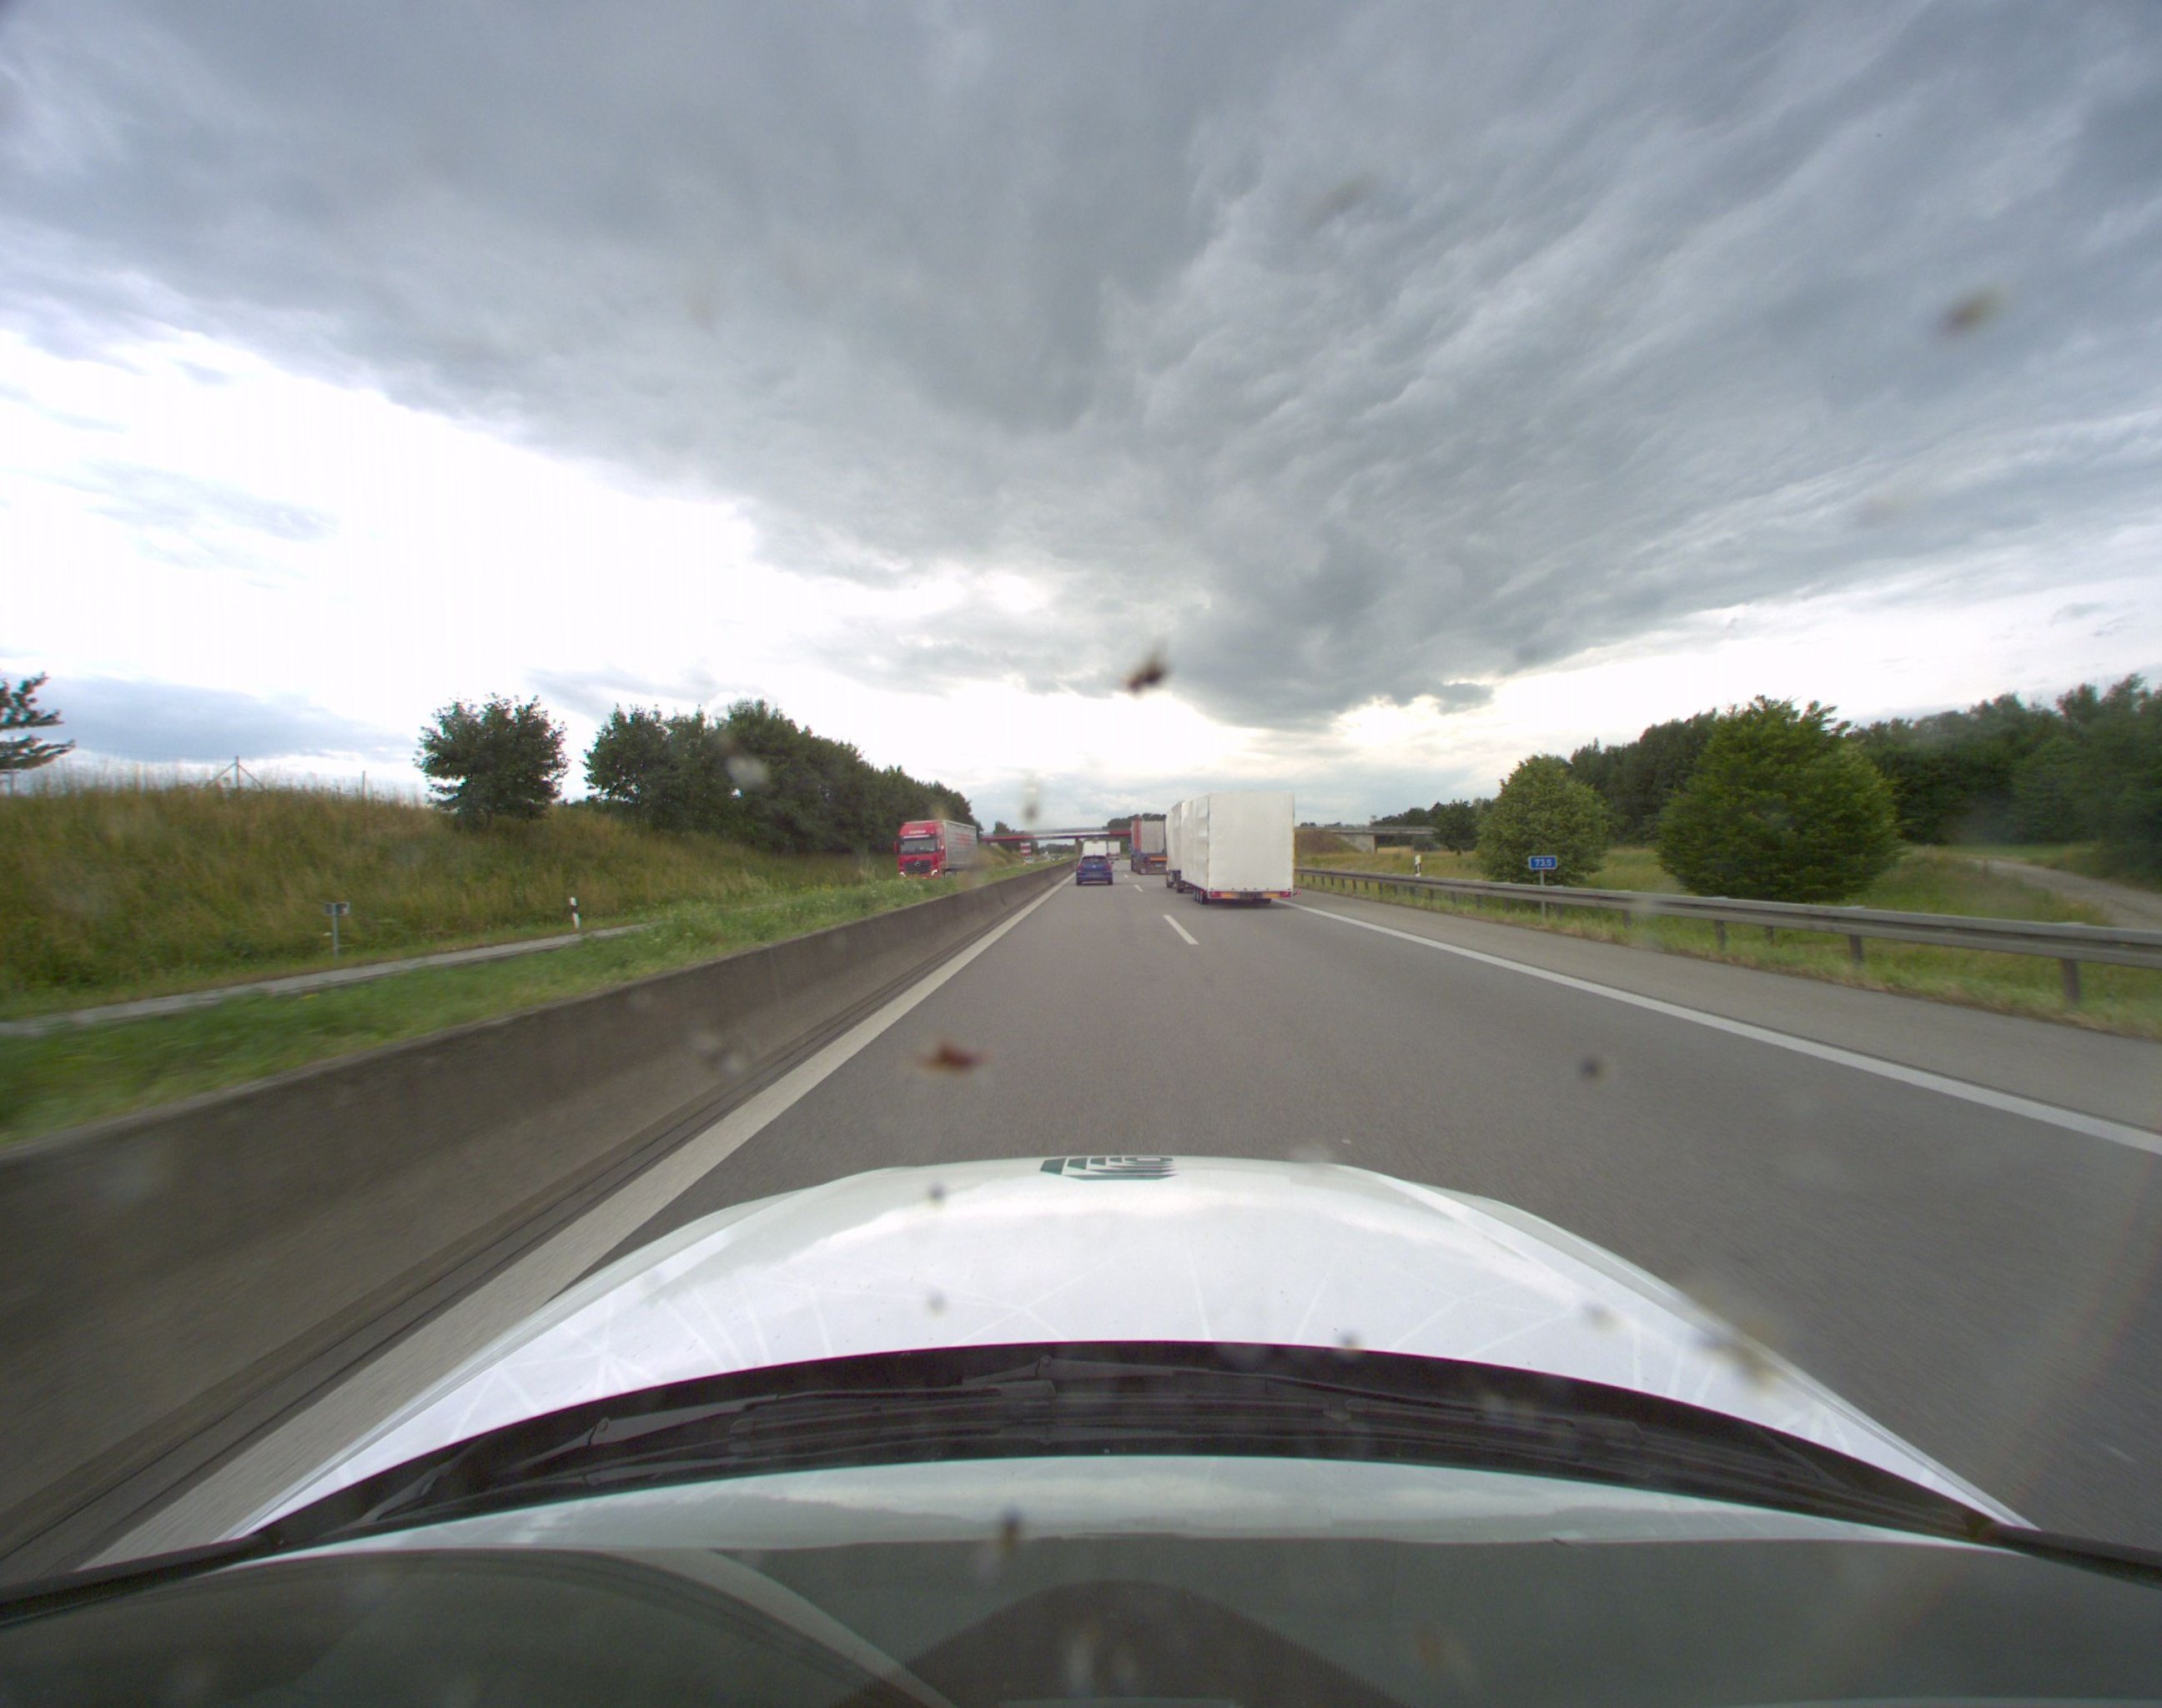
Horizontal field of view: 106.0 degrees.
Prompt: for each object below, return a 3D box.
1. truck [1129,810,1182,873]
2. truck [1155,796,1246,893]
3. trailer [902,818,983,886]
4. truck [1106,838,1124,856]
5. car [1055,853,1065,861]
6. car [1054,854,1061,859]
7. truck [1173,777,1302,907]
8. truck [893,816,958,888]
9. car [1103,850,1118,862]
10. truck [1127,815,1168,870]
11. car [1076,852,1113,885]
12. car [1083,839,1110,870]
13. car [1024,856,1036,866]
[{"bbox_3d":[5.199,-0.867,58.914,2.664,4.045,11.106,-2,1,0],"label":"truck"},{"bbox_3d":[4.396,-0.342,31.367,2.422,3.243,7.246,-1,0,0],"label":"truck"},{"bbox_3d":[-9.496,-0.204,57.965,2.697,4.088,14.601,-4,0,1],"label":"trailer"},{"bbox_3d":[7.189,-1.451,172.649,3.101,3.689,9.319,-4,0,-1],"label":"truck"},{"bbox_3d":[-4.234,0.545,164.973,1.842,1.378,4.601,-4,0,1],"label":"car"},{"bbox_3d":[-6.864,0.813,235.337,1.640,1.378,4.236,-4,0,1],"label":"car"},{"bbox_3d":[4.368,-0.318,24.148,2.407,3.222,7.143,-1,0,0],"label":"truck"},{"bbox_3d":[-9.657,-0.132,51.100,2.697,4.088,5.166,-4,0,1],"label":"truck"},{"bbox_3d":[3.513,0.230,98.183,1.658,1.407,3.648,-1,0,0],"label":"car"},{"bbox_3d":[5.185,-0.926,64.308,2.665,4.045,5.512,-2,1,0],"label":"truck"},{"bbox_3d":[0.650,0.656,38.847,1.658,1.407,3.649,-1,0,1],"label":"car"},{"bbox_3d":[1.311,0.021,68.660,2.123,2.482,5.840,-2,0,1],"label":"car"},{"bbox_3d":[-8.168,1.095,131.112,1.641,1.409,3.888,-4,0,0],"label":"car"}]
